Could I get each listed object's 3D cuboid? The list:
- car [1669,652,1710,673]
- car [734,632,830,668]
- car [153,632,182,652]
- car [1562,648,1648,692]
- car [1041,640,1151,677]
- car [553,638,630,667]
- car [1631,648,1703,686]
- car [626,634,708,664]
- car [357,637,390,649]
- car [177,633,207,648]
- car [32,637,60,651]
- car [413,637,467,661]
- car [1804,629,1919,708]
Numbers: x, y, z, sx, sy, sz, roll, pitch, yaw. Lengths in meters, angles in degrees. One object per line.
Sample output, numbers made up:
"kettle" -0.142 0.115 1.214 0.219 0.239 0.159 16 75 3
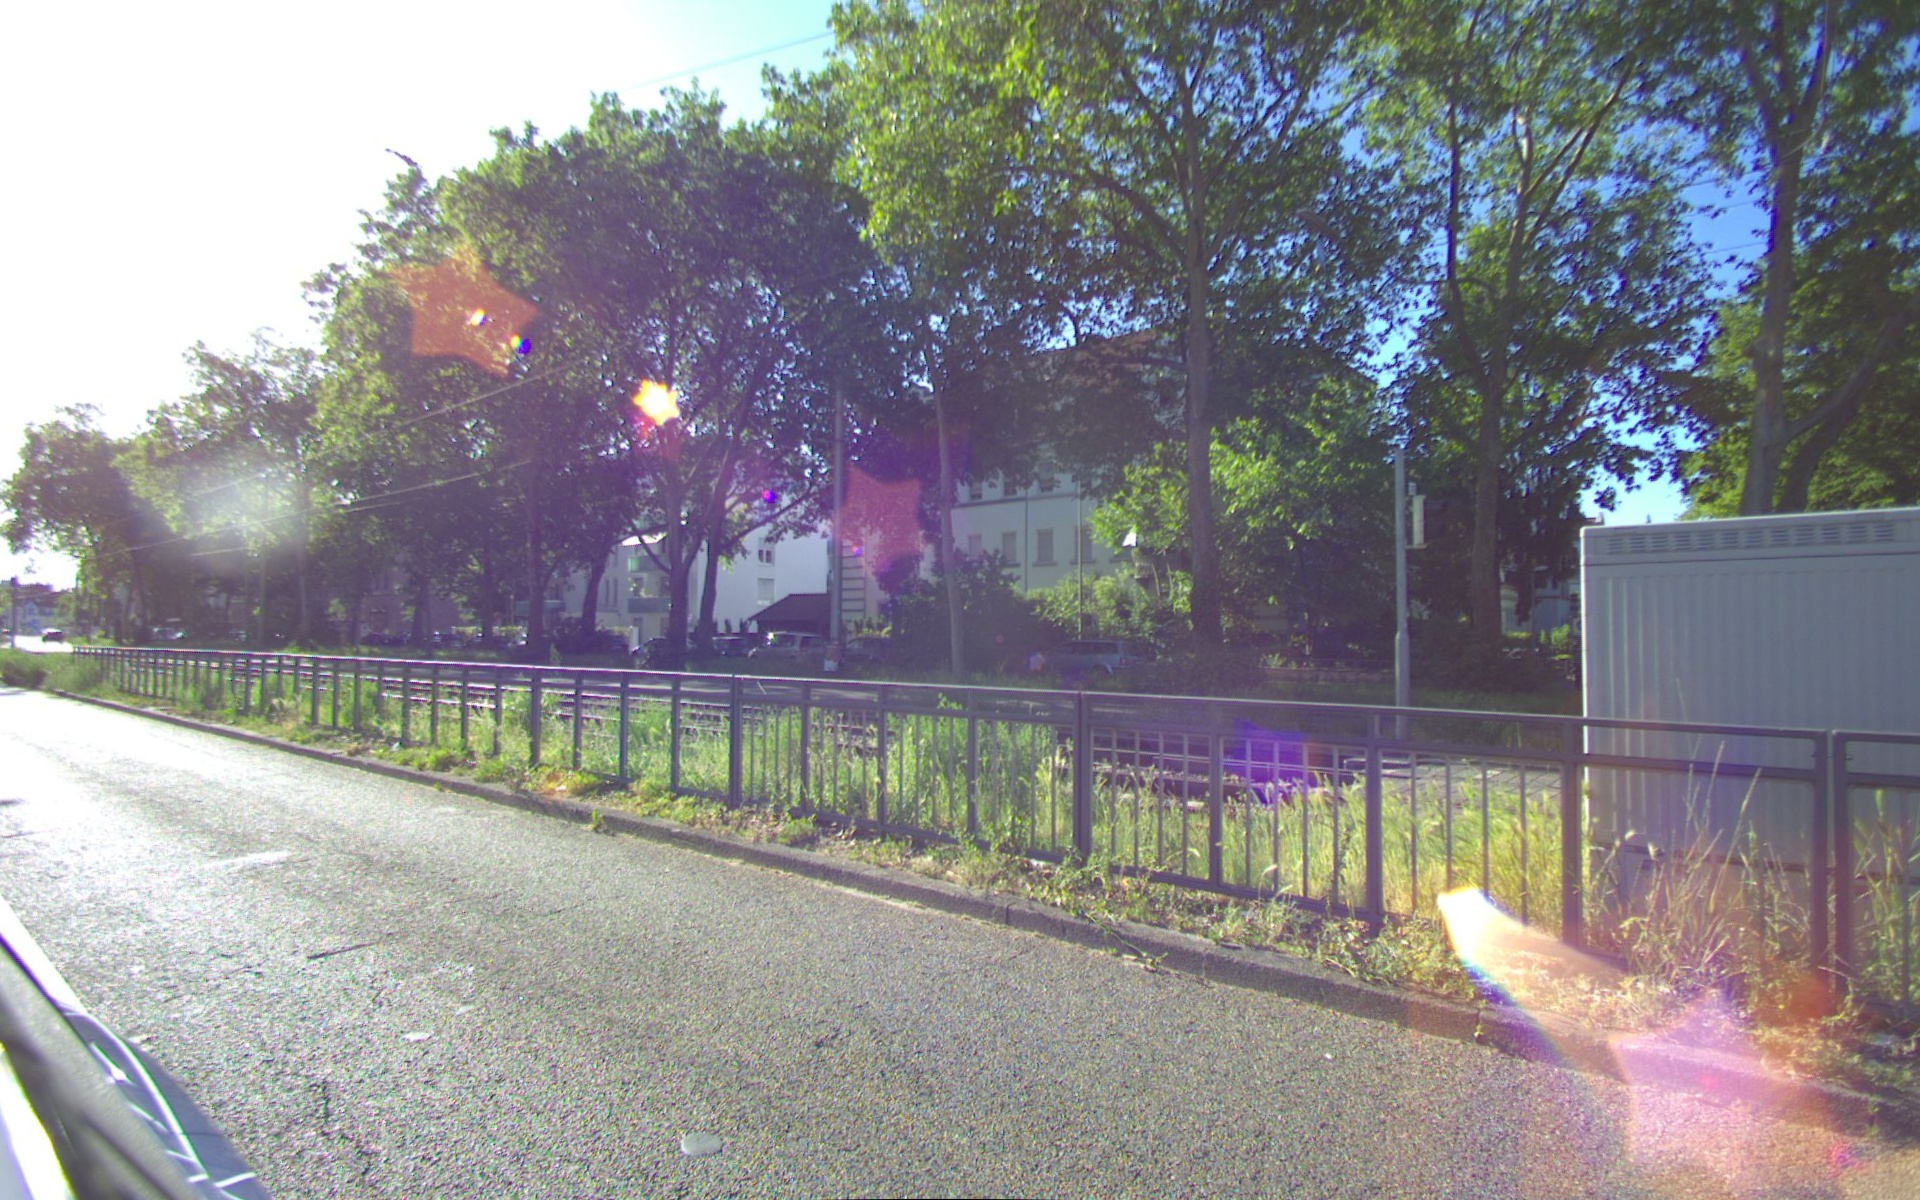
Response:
"car" 40.367 3.441 56.002 1.531 1.127 3.083 -2 -3 41
"car" -7.540 2.093 42.656 4.317 1.451 1.717 -2 -3 42
"car" -85.853 4.536 109.637 1.970 2.029 4.002 2 -3 -45
"car" 23.098 2.461 36.169 1.999 1.429 3.945 -2 -3 41
"car" 4.319 1.841 32.403 3.213 1.125 1.458 -2 -3 38
"car" -19.334 2.705 53.014 4.317 1.464 1.972 -2 -3 42
"car" 29.133 2.712 41.673 1.999 1.429 3.945 -2 -3 41
"car" -14.095 2.343 48.509 4.459 1.334 1.623 -2 -5 42
"car" -41.477 3.041 71.549 3.058 0.883 1.094 -2 -3 41
"car" -78.609 4.159 103.594 3.687 1.497 1.748 -2 -3 42
"car" -108.116 5.160 119.662 4.456 1.660 1.839 -2 -3 40
"car" -33.561 3.156 65.290 3.998 1.484 1.778 -2 -3 41
"car" 19.288 1.326 19.843 4.141 1.521 1.652 -2 -3 40
